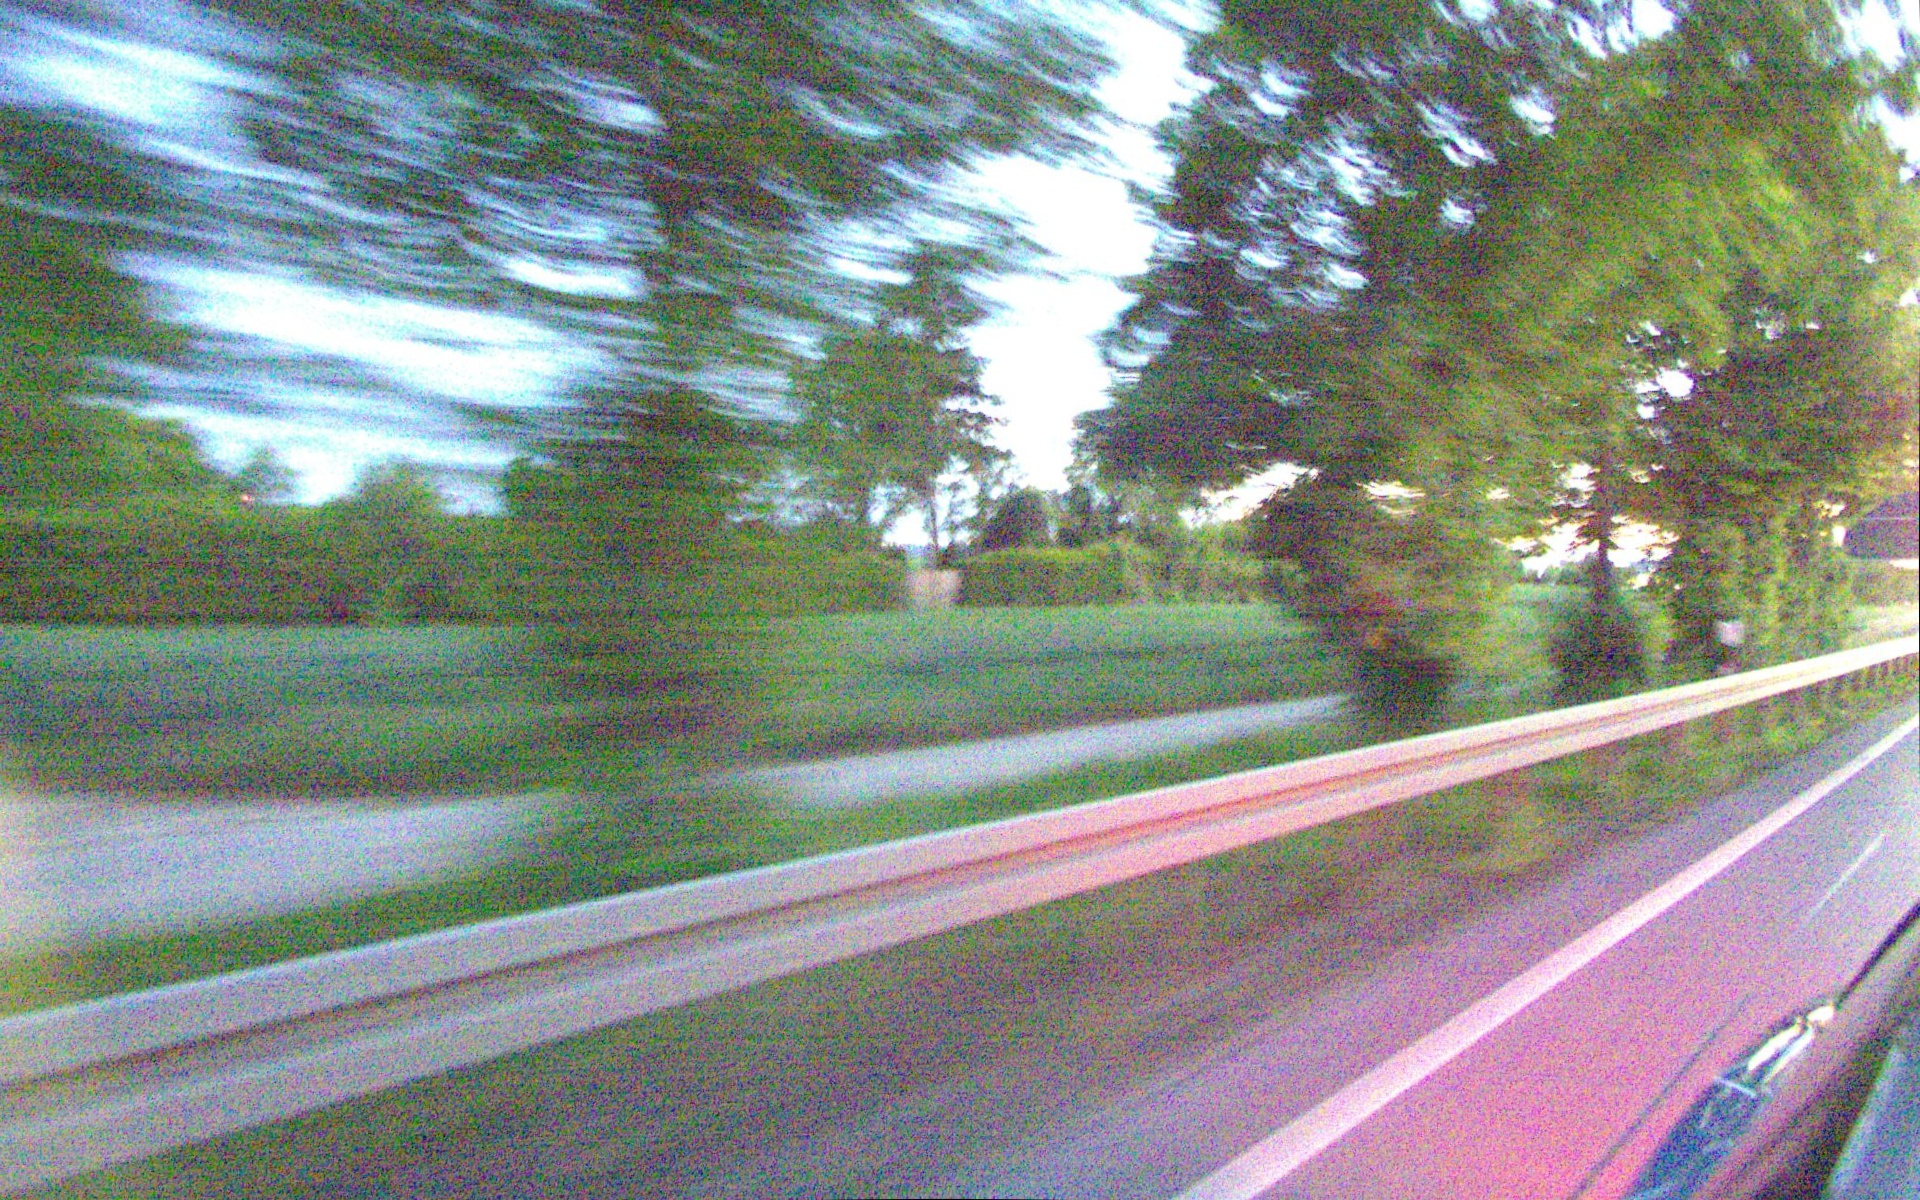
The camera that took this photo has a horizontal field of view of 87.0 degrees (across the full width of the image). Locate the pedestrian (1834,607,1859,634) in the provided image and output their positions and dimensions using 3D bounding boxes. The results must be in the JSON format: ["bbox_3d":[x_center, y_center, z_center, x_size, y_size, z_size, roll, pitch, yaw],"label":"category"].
[{"bbox_3d":[55.919,1.291,63.839,1.100,1.664,1.063,0,0,-43],"label":"pedestrian"}]
